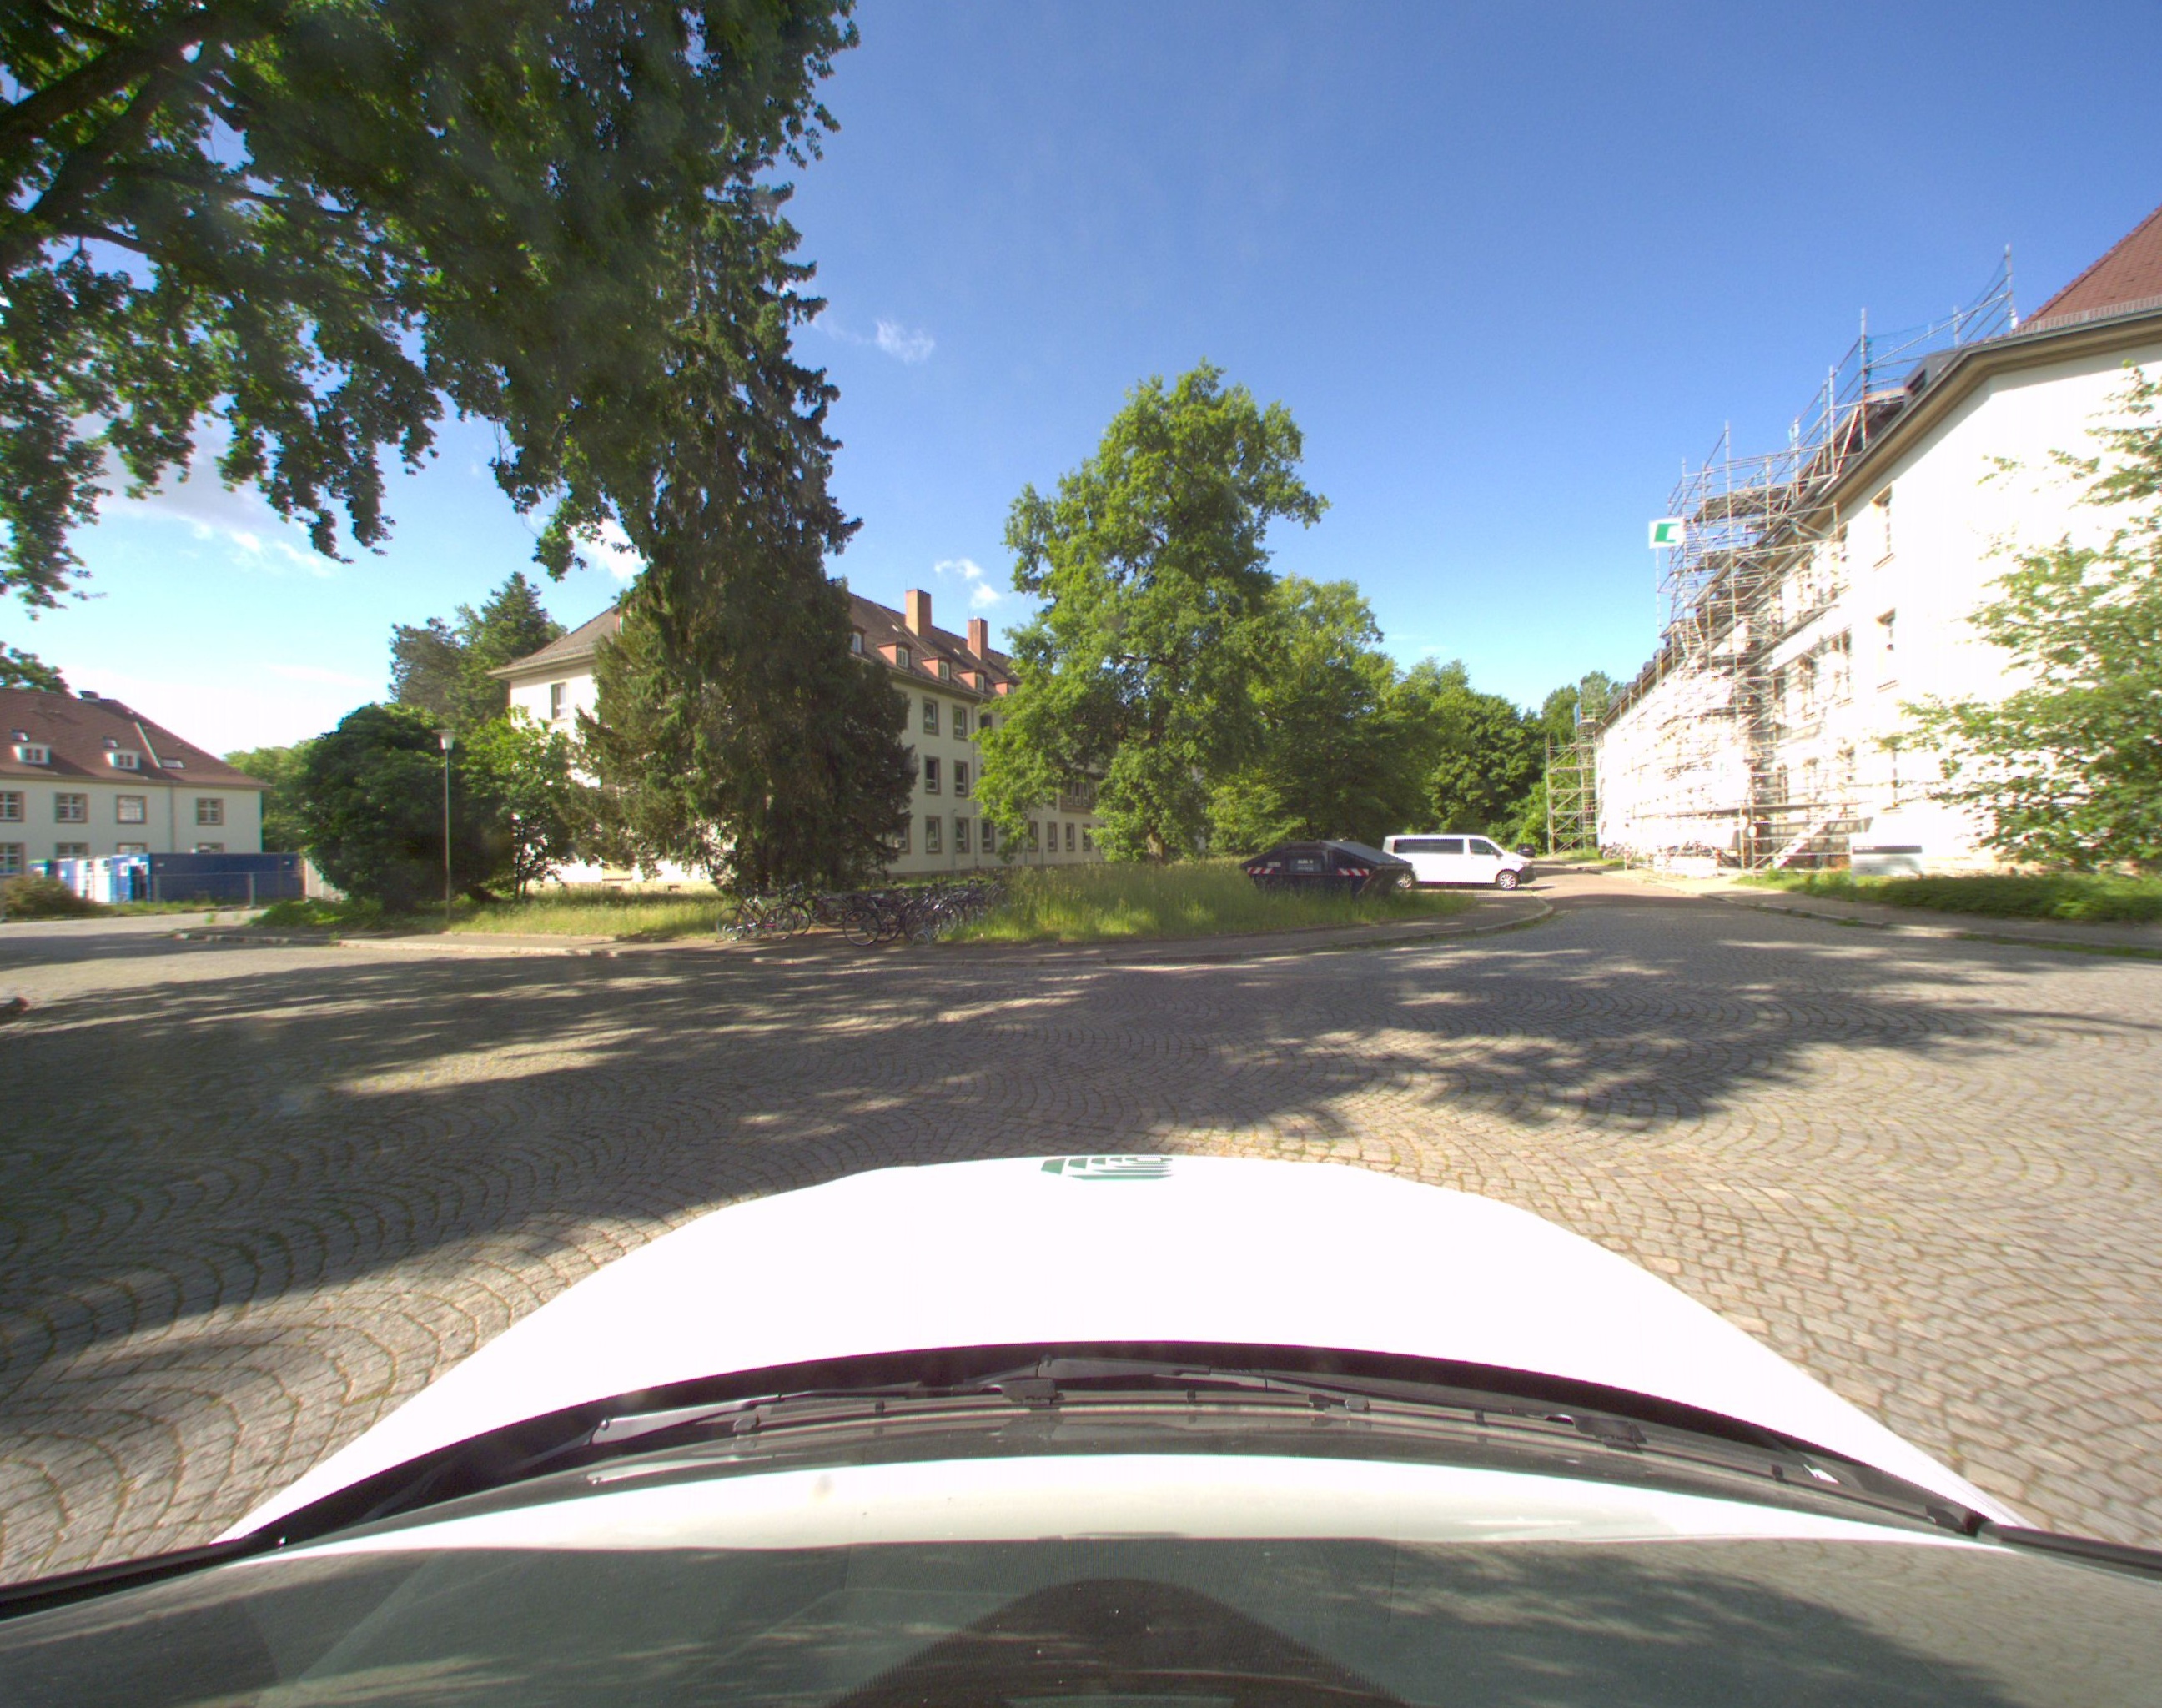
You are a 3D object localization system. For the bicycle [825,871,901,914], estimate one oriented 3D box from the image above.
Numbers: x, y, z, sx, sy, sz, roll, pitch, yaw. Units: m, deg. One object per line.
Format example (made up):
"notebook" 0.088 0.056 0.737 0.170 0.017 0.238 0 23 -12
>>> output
"bicycle" -6.008 1.048 22.437 1.902 1.103 0.571 -1 1 7

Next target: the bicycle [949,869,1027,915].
"bicycle" -2.443 0.997 21.429 1.903 1.058 0.477 -4 -1 5

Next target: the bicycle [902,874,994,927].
"bicycle" -2.978 1.030 18.278 1.905 1.058 0.476 -4 -1 3

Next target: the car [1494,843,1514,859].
"car" 45.690 -0.330 87.962 1.795 1.579 4.159 -2 0 26

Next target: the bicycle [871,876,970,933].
"bicycle" -3.322 1.042 16.930 1.905 1.058 0.476 -4 -1 3

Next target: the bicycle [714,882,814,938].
"bicycle" -6.899 1.214 17.763 1.905 1.102 0.571 -2 1 2

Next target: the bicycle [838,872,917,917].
"bicycle" -5.376 1.061 21.547 1.902 1.103 0.571 -1 1 7

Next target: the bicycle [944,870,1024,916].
"bicycle" -2.489 0.995 20.929 1.903 1.058 0.477 -4 -1 5

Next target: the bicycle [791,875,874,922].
"bicycle" -6.337 1.123 20.806 1.908 1.103 0.570 -2 1 -2

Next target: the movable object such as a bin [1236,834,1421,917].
"movable object such as a bin" 5.695 0.479 18.966 2.037 1.744 3.532 -1 -1 -45

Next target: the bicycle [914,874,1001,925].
"bicycle" -2.888 1.058 19.146 1.903 1.058 0.477 -4 -1 5

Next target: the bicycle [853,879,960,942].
"bicycle" -3.373 1.087 15.843 1.908 1.058 0.475 -3 -1 -3

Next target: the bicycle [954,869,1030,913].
"bicycle" -2.391 0.996 21.896 1.903 1.058 0.477 -4 -1 5

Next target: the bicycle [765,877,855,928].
"bicycle" -6.445 1.152 19.401 1.908 1.103 0.570 -2 1 -2

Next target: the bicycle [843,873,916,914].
"bicycle" -5.770 1.121 23.382 1.905 1.103 0.571 -1 1 3

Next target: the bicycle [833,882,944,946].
"bicycle" -3.606 1.123 15.335 1.908 1.058 0.475 -3 -1 -3

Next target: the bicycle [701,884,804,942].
"bicycle" -6.929 1.232 17.223 1.905 1.102 0.571 -2 1 2

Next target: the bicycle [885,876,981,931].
"bicycle" -3.166 1.055 17.485 1.905 1.058 0.476 -4 -1 3

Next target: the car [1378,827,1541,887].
"car" 13.715 0.144 29.695 5.186 2.016 1.961 -1 0 26

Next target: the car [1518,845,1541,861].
"car" 47.968 -0.127 87.173 1.953 1.668 4.110 -2 0 26
